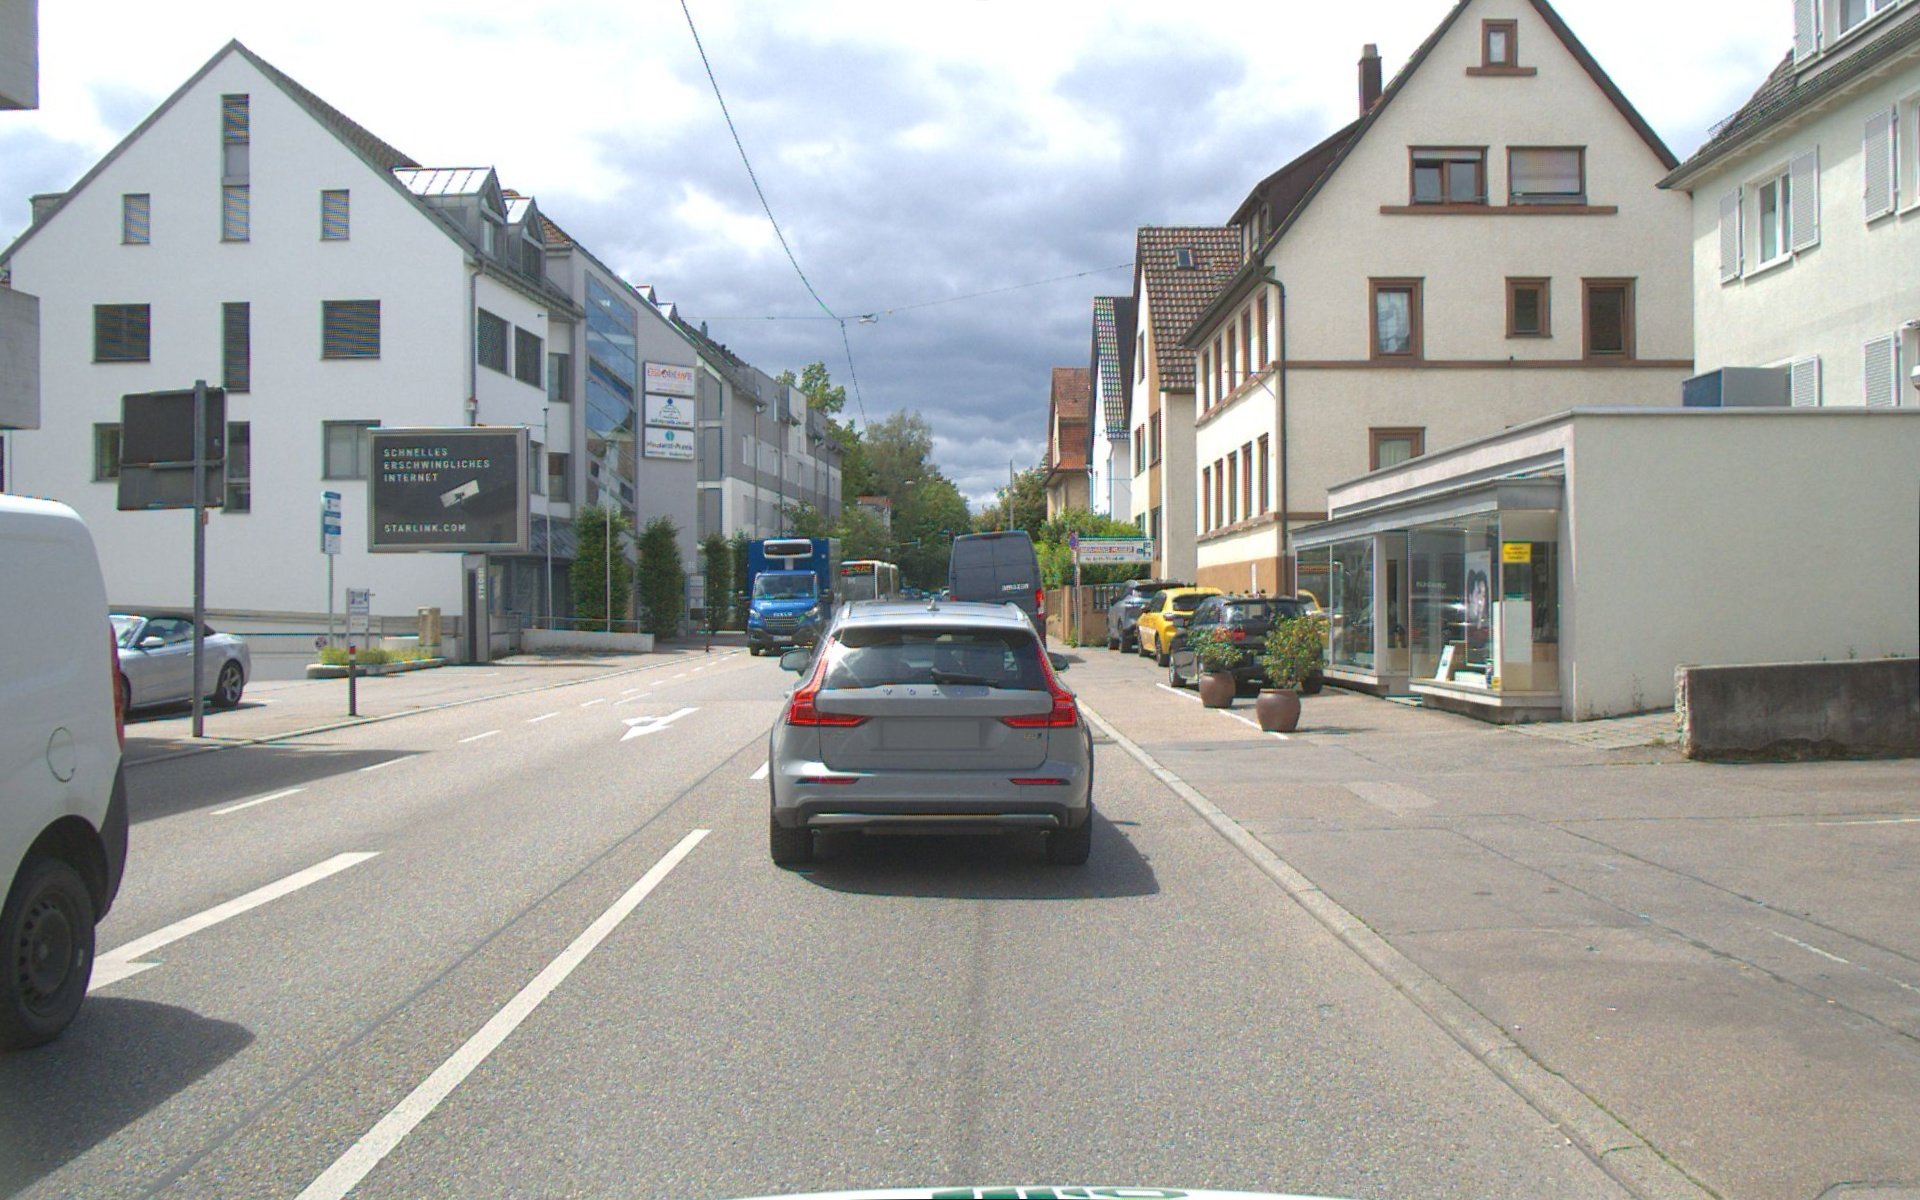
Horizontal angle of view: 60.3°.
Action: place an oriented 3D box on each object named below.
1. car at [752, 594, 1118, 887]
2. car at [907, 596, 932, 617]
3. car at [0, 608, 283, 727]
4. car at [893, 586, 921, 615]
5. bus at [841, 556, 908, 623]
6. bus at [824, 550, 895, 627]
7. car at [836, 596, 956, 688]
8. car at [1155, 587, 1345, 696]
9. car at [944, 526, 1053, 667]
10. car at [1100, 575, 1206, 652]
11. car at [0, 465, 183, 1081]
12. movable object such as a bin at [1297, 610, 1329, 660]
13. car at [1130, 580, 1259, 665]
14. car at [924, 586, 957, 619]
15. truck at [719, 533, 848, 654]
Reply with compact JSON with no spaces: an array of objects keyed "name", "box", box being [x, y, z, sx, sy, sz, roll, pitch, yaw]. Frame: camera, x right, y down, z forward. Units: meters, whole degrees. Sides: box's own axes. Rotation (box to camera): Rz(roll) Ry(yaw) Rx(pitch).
[{"name":"car","box":[-0.081,0.711,10.423,1.857,1.479,3.969,0,0,1]},{"name":"car","box":[-3.396,0.529,139.379,2.062,1.739,4.764,-1,0,-1]},{"name":"car","box":[-11.203,0.830,22.279,1.910,1.381,4.858,-1,0,3]},{"name":"car","box":[-4.103,0.026,128.773,2.062,2.158,4.764,-1,0,-1]},{"name":"bus","box":[-4.335,-0.510,85.052,2.659,3.219,8.071,-1,0,2]},{"name":"bus","box":[-4.515,-0.500,75.966,2.627,3.219,10.183,-1,0,0]},{"name":"car","box":[-1.036,0.671,28.594,1.857,1.472,3.969,0,0,1]},{"name":"car","box":[4.295,0.567,25.229,1.929,1.473,4.533,-1,0,-2]},{"name":"car","box":[0.809,-0.079,36.752,2.206,2.844,5.569,-1,0,0]},{"name":"car","box":[4.419,0.279,38.528,1.823,1.640,4.585,-2,0,-1]},{"name":"car","box":[-3.841,0.539,4.008,1.906,1.852,4.278,-1,0,-1]},{"name":"movable object such as a bin","box":[6.757,0.673,31.689,0.490,0.941,0.598,-1,0,3]},{"name":"car","box":[4.699,0.402,33.743,1.839,1.472,4.306,-1,2,-2]},{"name":"car","box":[-1.218,0.138,105.589,1.952,2.049,4.001,0,0,1]},{"name":"truck","box":[-4.925,-0.169,47.647,2.795,3.147,8.088,-1,0,0]}]
